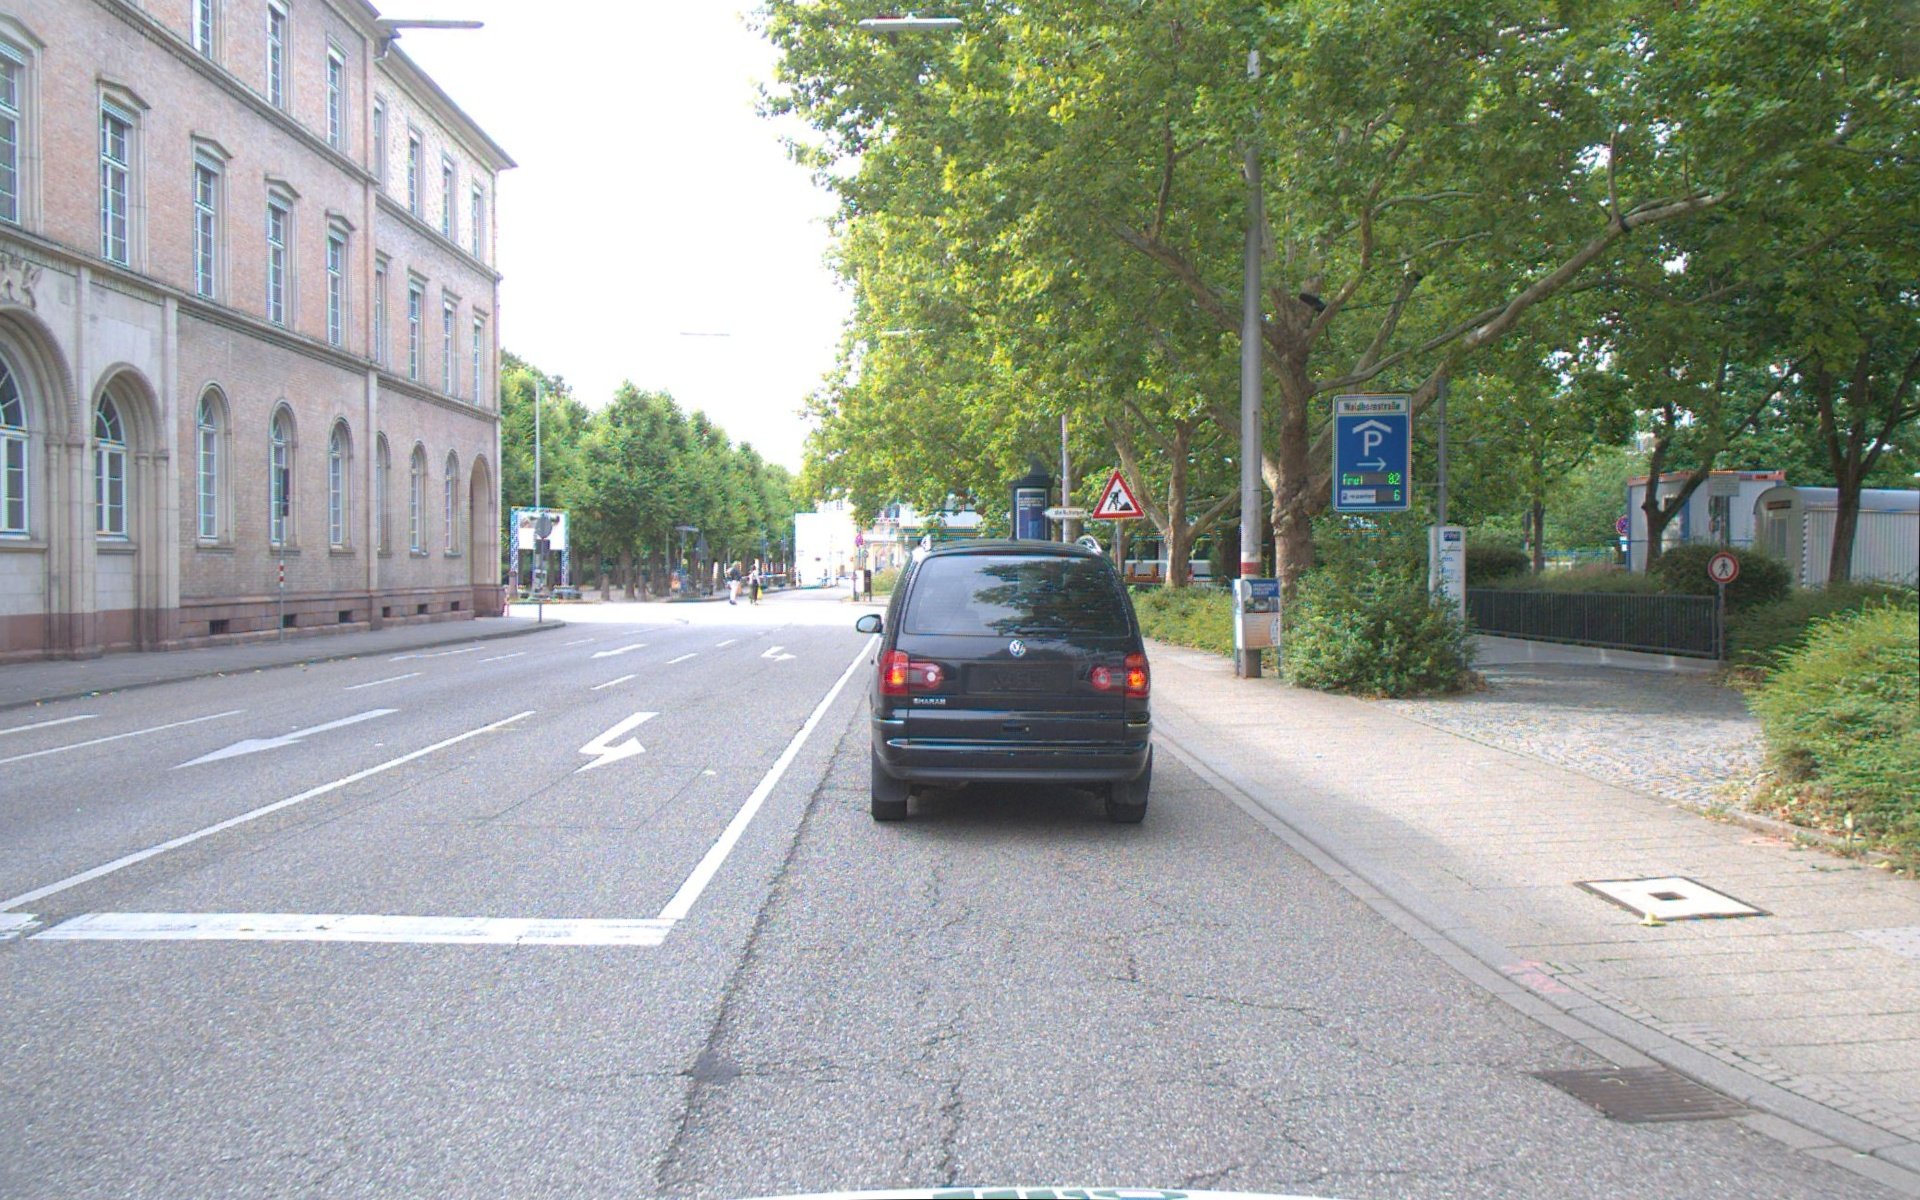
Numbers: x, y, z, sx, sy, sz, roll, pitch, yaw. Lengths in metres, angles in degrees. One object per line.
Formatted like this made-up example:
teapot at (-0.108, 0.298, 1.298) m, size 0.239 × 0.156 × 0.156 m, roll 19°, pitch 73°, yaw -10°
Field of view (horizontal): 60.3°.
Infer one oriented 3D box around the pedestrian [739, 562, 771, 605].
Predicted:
pedestrian at (-8.099, -0.639, 65.287) m, size 0.880 × 1.670 × 0.850 m, roll 2°, pitch 1°, yaw 34°

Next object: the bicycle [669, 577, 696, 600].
bicycle at (-14.301, -0.594, 85.147) m, size 0.937 × 1.129 × 2.566 m, roll 1°, pitch 1°, yaw -18°

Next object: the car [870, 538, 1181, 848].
car at (0.273, 0.481, 11.462) m, size 1.758 × 1.738 × 4.129 m, roll -1°, pitch 1°, yaw -3°

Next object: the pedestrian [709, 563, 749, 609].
pedestrian at (-9.154, -0.569, 65.497) m, size 0.944 × 1.772 × 1.250 m, roll 2°, pitch 1°, yaw 37°
